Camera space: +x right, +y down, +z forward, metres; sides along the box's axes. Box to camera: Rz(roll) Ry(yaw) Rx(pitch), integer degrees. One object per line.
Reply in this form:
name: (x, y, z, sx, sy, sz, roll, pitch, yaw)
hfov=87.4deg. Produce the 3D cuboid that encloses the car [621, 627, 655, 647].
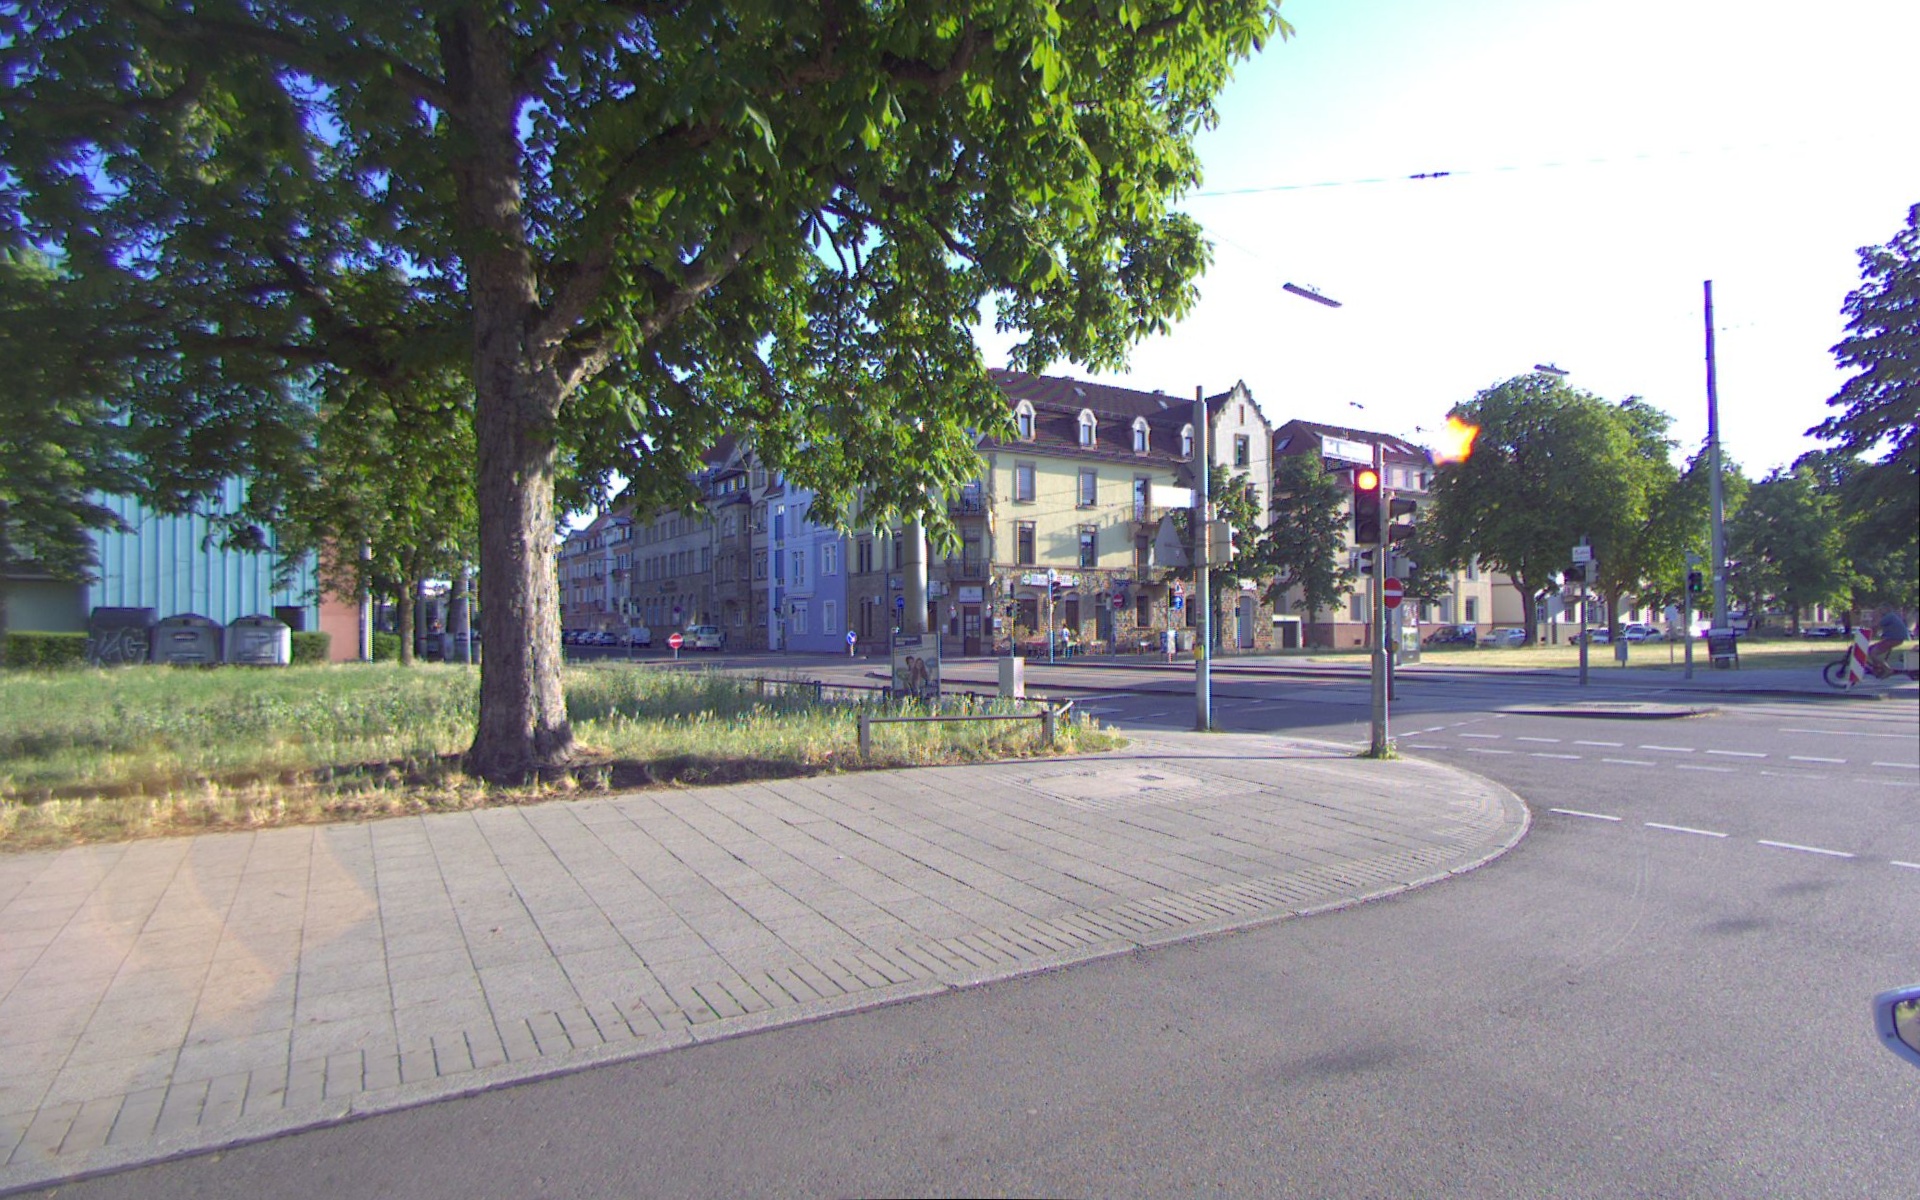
car: (-30.131, 3.433, 93.890, 1.980, 1.694, 3.743, 2, 0, -34)

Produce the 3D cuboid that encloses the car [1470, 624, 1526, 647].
car: (40.912, 2.695, 76.388, 3.953, 1.681, 1.984, 2, 0, -30)

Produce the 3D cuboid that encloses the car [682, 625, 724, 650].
car: (-20.037, 2.917, 78.253, 2.011, 1.760, 3.743, 2, 0, -34)

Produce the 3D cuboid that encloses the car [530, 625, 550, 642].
car: (-54.754, 4.365, 130.912, 1.756, 2.040, 3.790, 2, 0, -34)

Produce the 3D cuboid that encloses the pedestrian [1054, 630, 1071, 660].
pedestrian: (5.741, 2.545, 56.274, 0.676, 1.646, 0.612, 2, 0, -34)

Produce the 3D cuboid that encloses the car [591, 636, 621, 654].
car: (-36.589, 4.662, 103.713, 1.980, 1.694, 3.743, 2, 0, -34)

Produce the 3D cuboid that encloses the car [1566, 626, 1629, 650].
car: (46.476, 2.773, 73.210, 4.517, 1.681, 1.984, 2, 0, -30)

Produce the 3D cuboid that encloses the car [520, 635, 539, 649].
car: (-57.724, 5.666, 134.721, 1.713, 1.694, 3.638, 2, 0, -33)

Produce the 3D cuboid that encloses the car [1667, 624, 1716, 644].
car: (66.827, 3.094, 91.728, 4.517, 1.681, 1.984, 2, 0, -30)

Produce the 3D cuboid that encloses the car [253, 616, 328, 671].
car: (-22.828, 1.539, 34.308, 1.979, 1.693, 5.177, 2, -4, -33)

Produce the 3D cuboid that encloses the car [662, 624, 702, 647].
car: (-23.021, 2.901, 83.103, 1.980, 1.763, 3.962, 1, 0, -34)

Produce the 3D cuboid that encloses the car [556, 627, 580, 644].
car: (-45.983, 4.129, 117.748, 1.782, 1.855, 3.755, 2, 0, -34)

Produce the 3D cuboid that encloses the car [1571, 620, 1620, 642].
car: (52.791, 2.584, 83.421, 4.142, 1.654, 1.707, 2, 0, -30)

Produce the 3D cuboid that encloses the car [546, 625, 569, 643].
car: (-48.968, 4.099, 122.110, 1.805, 2.040, 3.924, 2, 0, -34)

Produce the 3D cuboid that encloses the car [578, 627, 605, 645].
car: (-39.723, 3.861, 108.288, 1.816, 1.692, 3.911, 2, 0, -34)

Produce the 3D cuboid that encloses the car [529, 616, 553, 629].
car: (-58.184, 3.080, 139.497, 1.912, 1.715, 3.952, 2, -1, -41)

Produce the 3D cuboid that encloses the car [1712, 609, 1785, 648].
car: (67.963, 2.385, 86.503, 7.764, 3.173, 2.379, 1, 1, -32)

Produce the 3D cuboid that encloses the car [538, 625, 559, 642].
car: (-51.935, 4.215, 126.688, 1.789, 2.040, 3.772, 2, 0, -33)

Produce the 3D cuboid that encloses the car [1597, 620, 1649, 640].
car: (57.905, 2.629, 87.695, 4.517, 1.681, 1.984, 2, 0, -30)

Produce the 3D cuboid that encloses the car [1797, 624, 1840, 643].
car: (80.919, 3.135, 94.693, 4.266, 1.696, 1.869, 2, 0, -31)

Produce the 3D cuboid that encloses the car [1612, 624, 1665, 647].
car: (51.571, 2.676, 76.307, 4.372, 1.575, 1.785, 0, 1, -34)

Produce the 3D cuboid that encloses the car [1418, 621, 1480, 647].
car: (35.624, 2.491, 73.177, 4.261, 1.759, 1.984, 2, 0, -30)

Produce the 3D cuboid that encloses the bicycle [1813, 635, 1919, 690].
bicycle: (20.890, 1.370, 22.164, 0.863, 1.176, 3.063, 1, -3, -26)

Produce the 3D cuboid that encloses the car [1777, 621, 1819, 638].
car: (86.973, 3.066, 104.293, 4.323, 1.681, 1.984, 2, 0, -30)

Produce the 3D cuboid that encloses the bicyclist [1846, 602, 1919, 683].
bicyclist: (20.753, 0.955, 22.470, 0.864, 1.746, 1.141, 1, -3, -27)
